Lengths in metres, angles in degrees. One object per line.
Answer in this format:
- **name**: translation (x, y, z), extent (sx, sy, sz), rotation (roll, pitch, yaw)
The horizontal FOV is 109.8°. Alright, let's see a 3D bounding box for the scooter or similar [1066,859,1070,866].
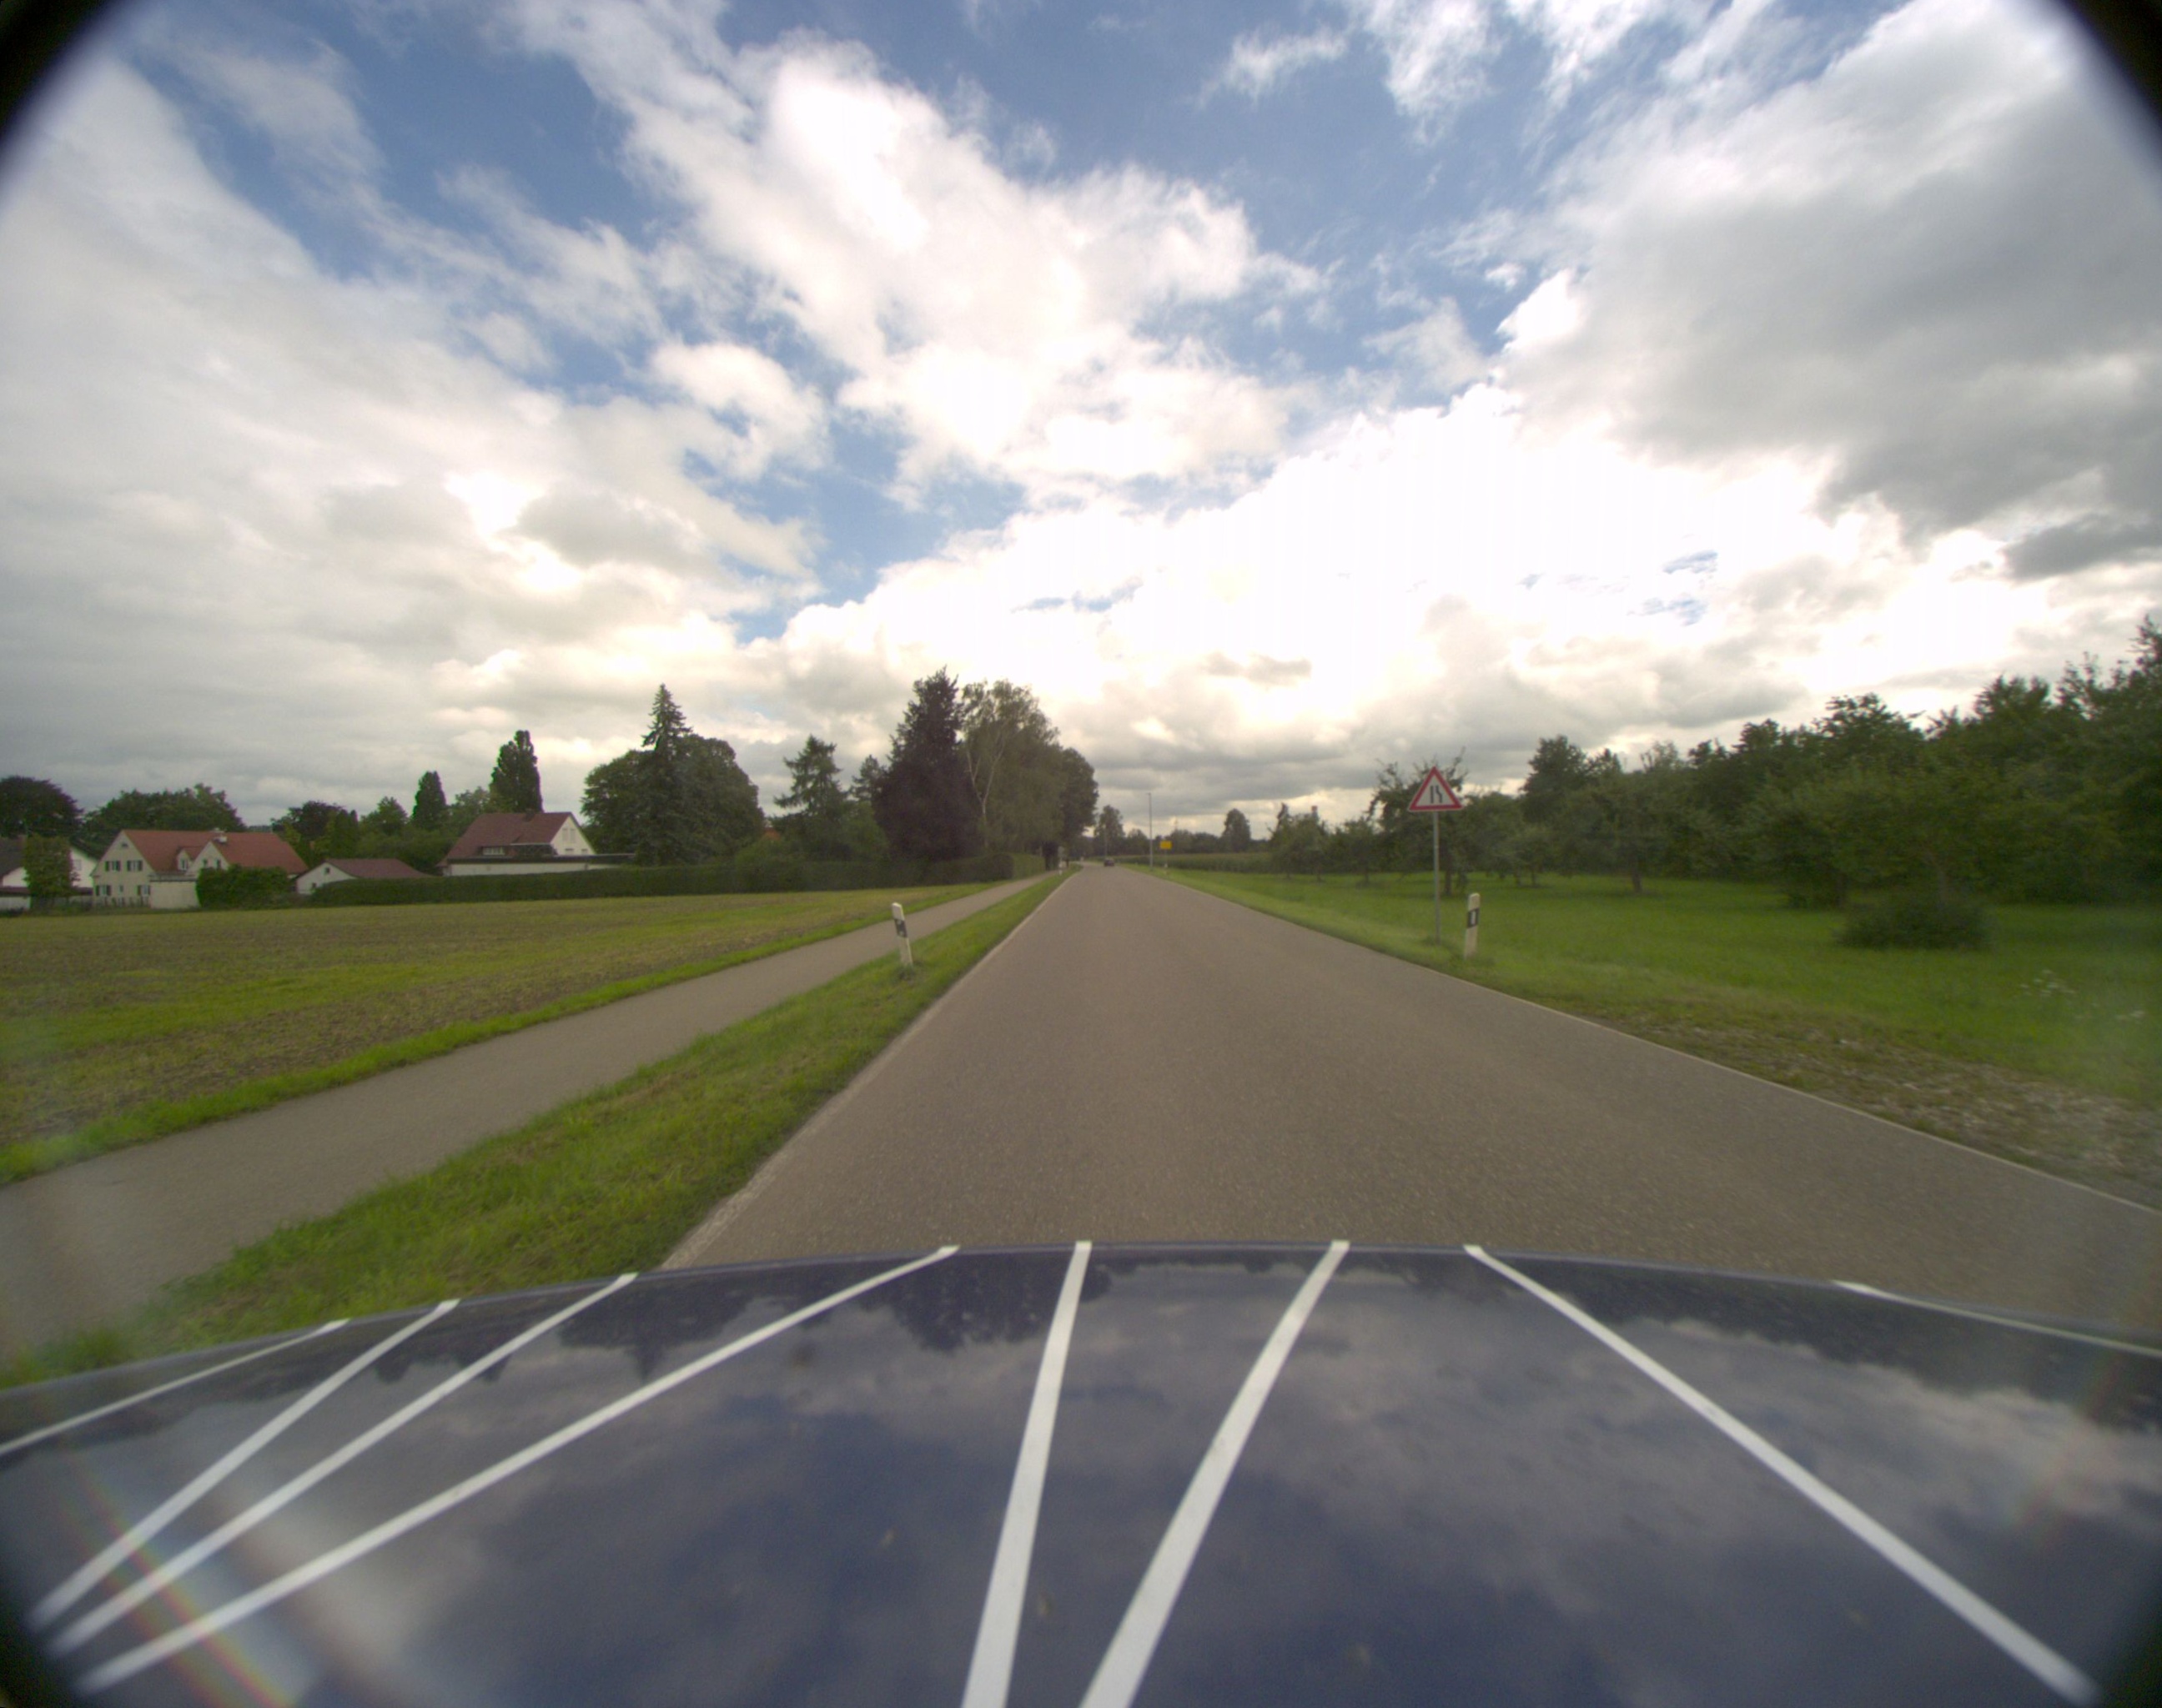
- **scooter or similar**: translation (-2.287, 1.519, 131.896), extent (0.650, 1.157, 1.695), rotation (-2, 0, 1)

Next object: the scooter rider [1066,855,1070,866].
- **scooter rider**: translation (-2.295, 1.172, 131.940), extent (0.643, 1.954, 0.786), rotation (-2, 1, 1)

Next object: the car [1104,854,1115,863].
- **car**: translation (5.119, 0.814, 136.187), extent (1.868, 1.543, 4.182), rotation (1, 0, 1)
